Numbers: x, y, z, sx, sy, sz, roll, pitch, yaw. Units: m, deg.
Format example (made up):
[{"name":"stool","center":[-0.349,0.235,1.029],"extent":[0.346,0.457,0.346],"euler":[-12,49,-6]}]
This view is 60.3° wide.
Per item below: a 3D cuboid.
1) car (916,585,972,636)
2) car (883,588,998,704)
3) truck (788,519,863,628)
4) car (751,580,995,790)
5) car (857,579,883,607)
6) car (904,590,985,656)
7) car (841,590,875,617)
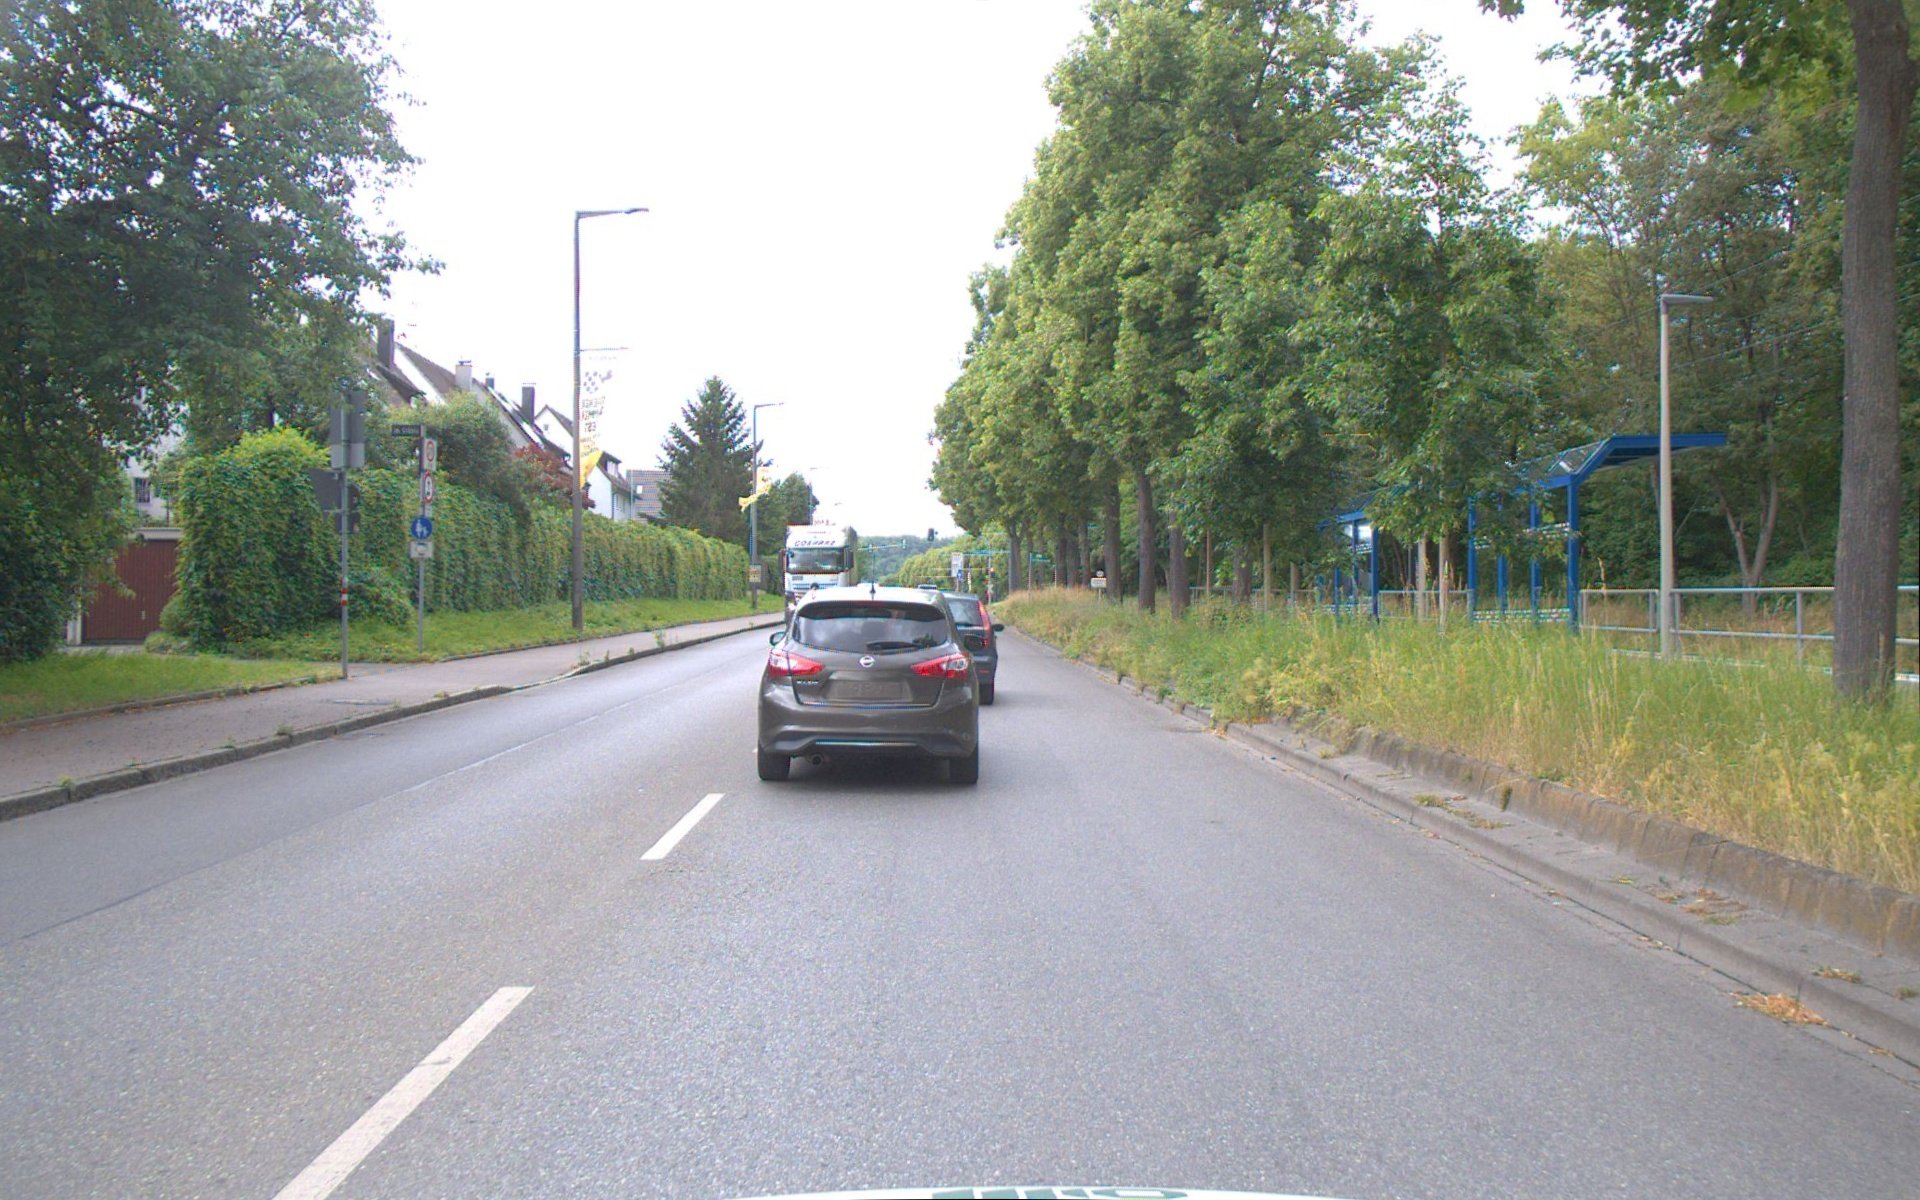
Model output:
[{"name":"car","center":[-0.534,0.318,53.512],"extent":[1.755,1.565,3.999],"euler":[0,0,-1]},{"name":"car","center":[-0.287,0.592,23.513],"extent":[1.507,1.504,3.763],"euler":[0,0,-1]},{"name":"truck","center":[-5.492,-1.013,68.771],"extent":[2.498,4.114,10.615],"euler":[-2,0,-2]},{"name":"car","center":[-0.678,0.616,14.457],"extent":[1.798,1.545,4.482],"euler":[0,0,-1]},{"name":"car","center":[-6.668,-0.529,122.369],"extent":[1.869,1.966,4.908],"euler":[-1,1,-3]},{"name":"car","center":[-0.367,0.496,37.951],"extent":[1.755,1.421,3.999],"euler":[0,0,-1]},{"name":"car","center":[-5.532,0.189,90.427],"extent":[1.698,1.399,4.238],"euler":[-1,0,-2]}]
